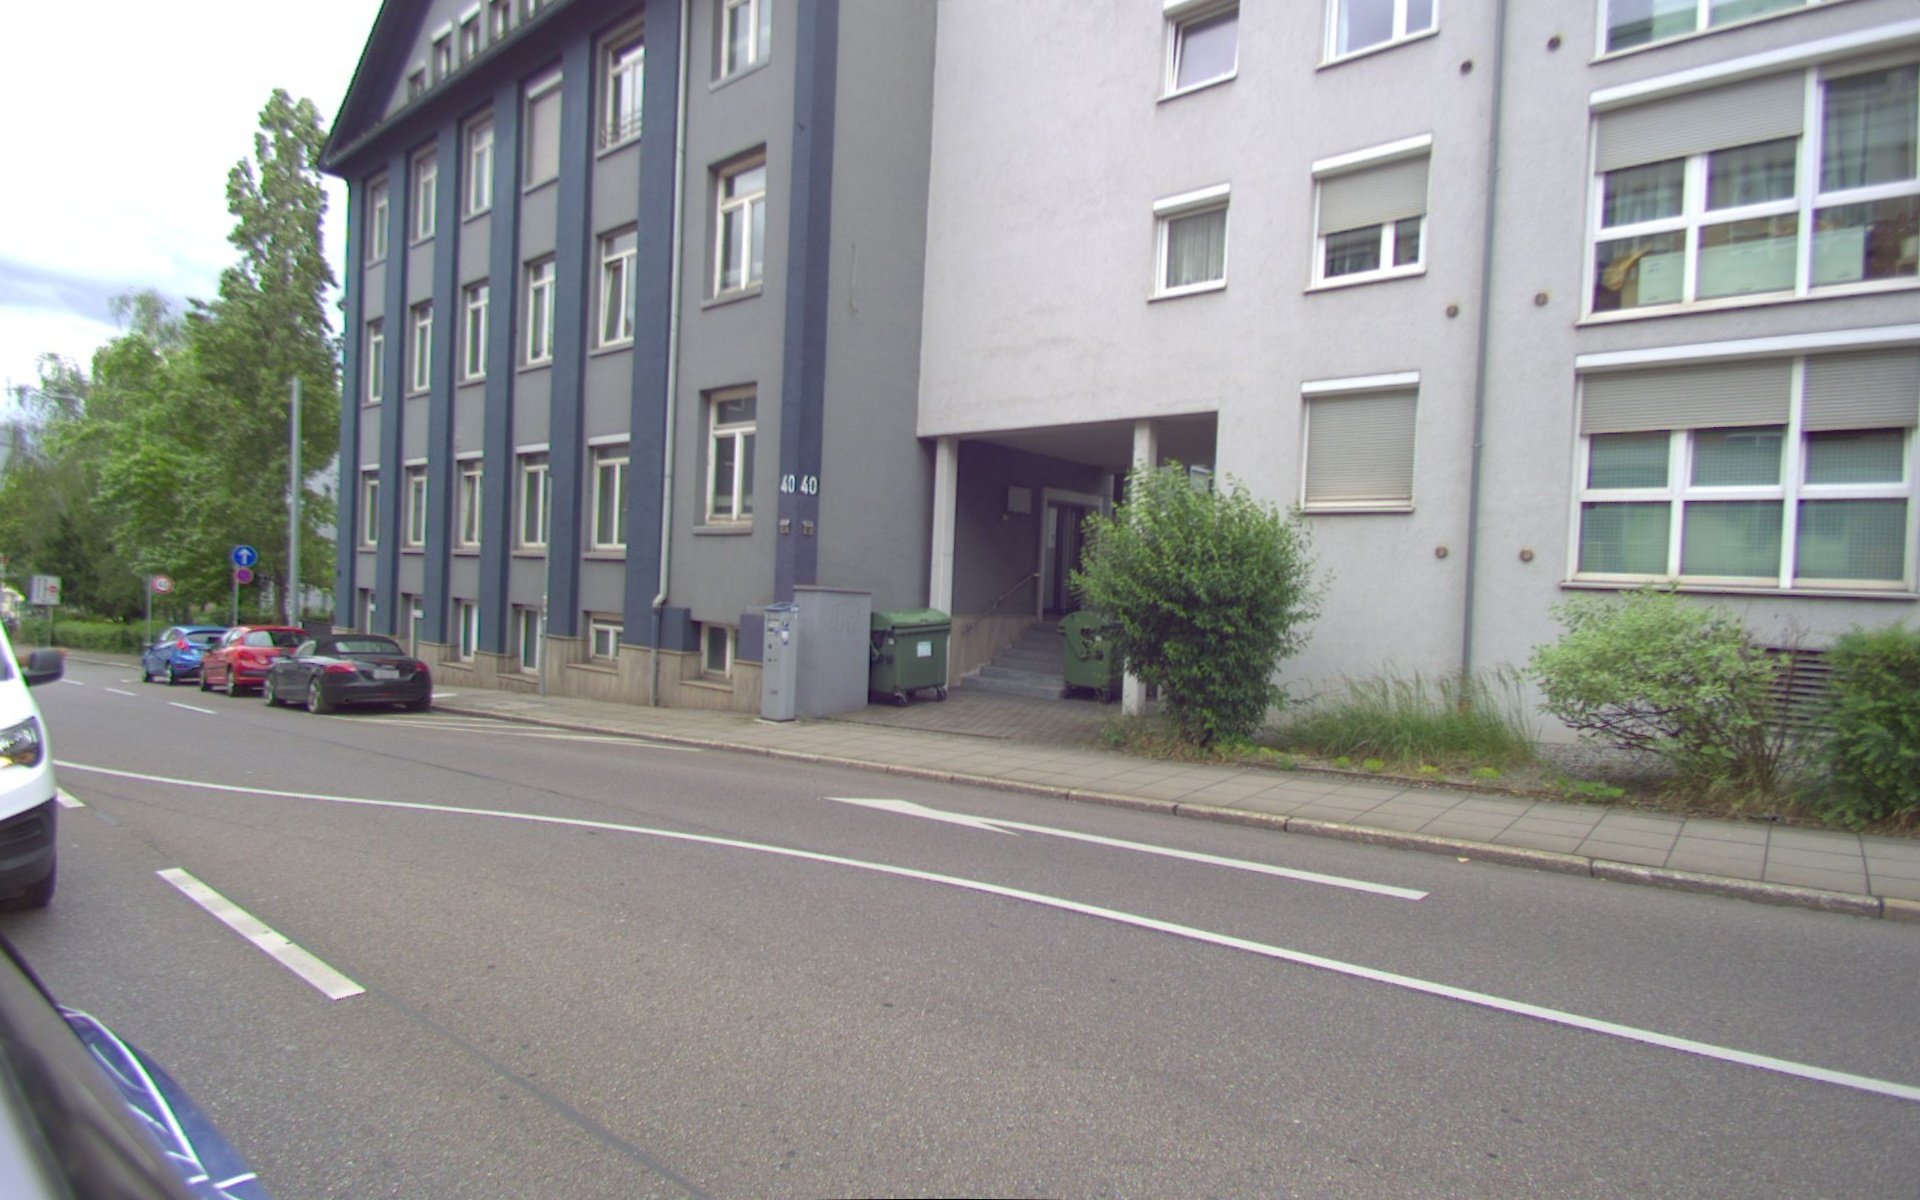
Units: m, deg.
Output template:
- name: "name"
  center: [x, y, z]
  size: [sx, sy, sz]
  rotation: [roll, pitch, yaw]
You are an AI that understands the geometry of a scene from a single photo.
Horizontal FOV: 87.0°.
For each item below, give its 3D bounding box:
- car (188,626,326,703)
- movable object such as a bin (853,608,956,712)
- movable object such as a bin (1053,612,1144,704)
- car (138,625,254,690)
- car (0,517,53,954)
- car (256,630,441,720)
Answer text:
- name: "car"
  center: [-15.343, 1.331, 22.030]
  size: [3.727, 1.460, 1.623]
  rotation: [-1, 0, 41]
- name: "movable object such as a bin"
  center: [-0.862, 0.897, 15.729]
  size: [1.039, 1.518, 1.213]
  rotation: [-1, 0, 41]
- name: "movable object such as a bin"
  center: [2.270, 0.914, 16.538]
  size: [1.078, 1.427, 1.026]
  rotation: [-1, 0, 41]
- name: "car"
  center: [-19.400, 1.391, 25.645]
  size: [3.727, 1.460, 1.623]
  rotation: [-1, 0, 41]
- name: "car"
  center: [-6.129, 0.615, 5.201]
  size: [3.998, 1.901, 1.716]
  rotation: [-1, 0, 41]
- name: "car"
  center: [-10.992, 1.261, 18.116]
  size: [3.727, 1.403, 1.778]
  rotation: [-1, -2, 41]
